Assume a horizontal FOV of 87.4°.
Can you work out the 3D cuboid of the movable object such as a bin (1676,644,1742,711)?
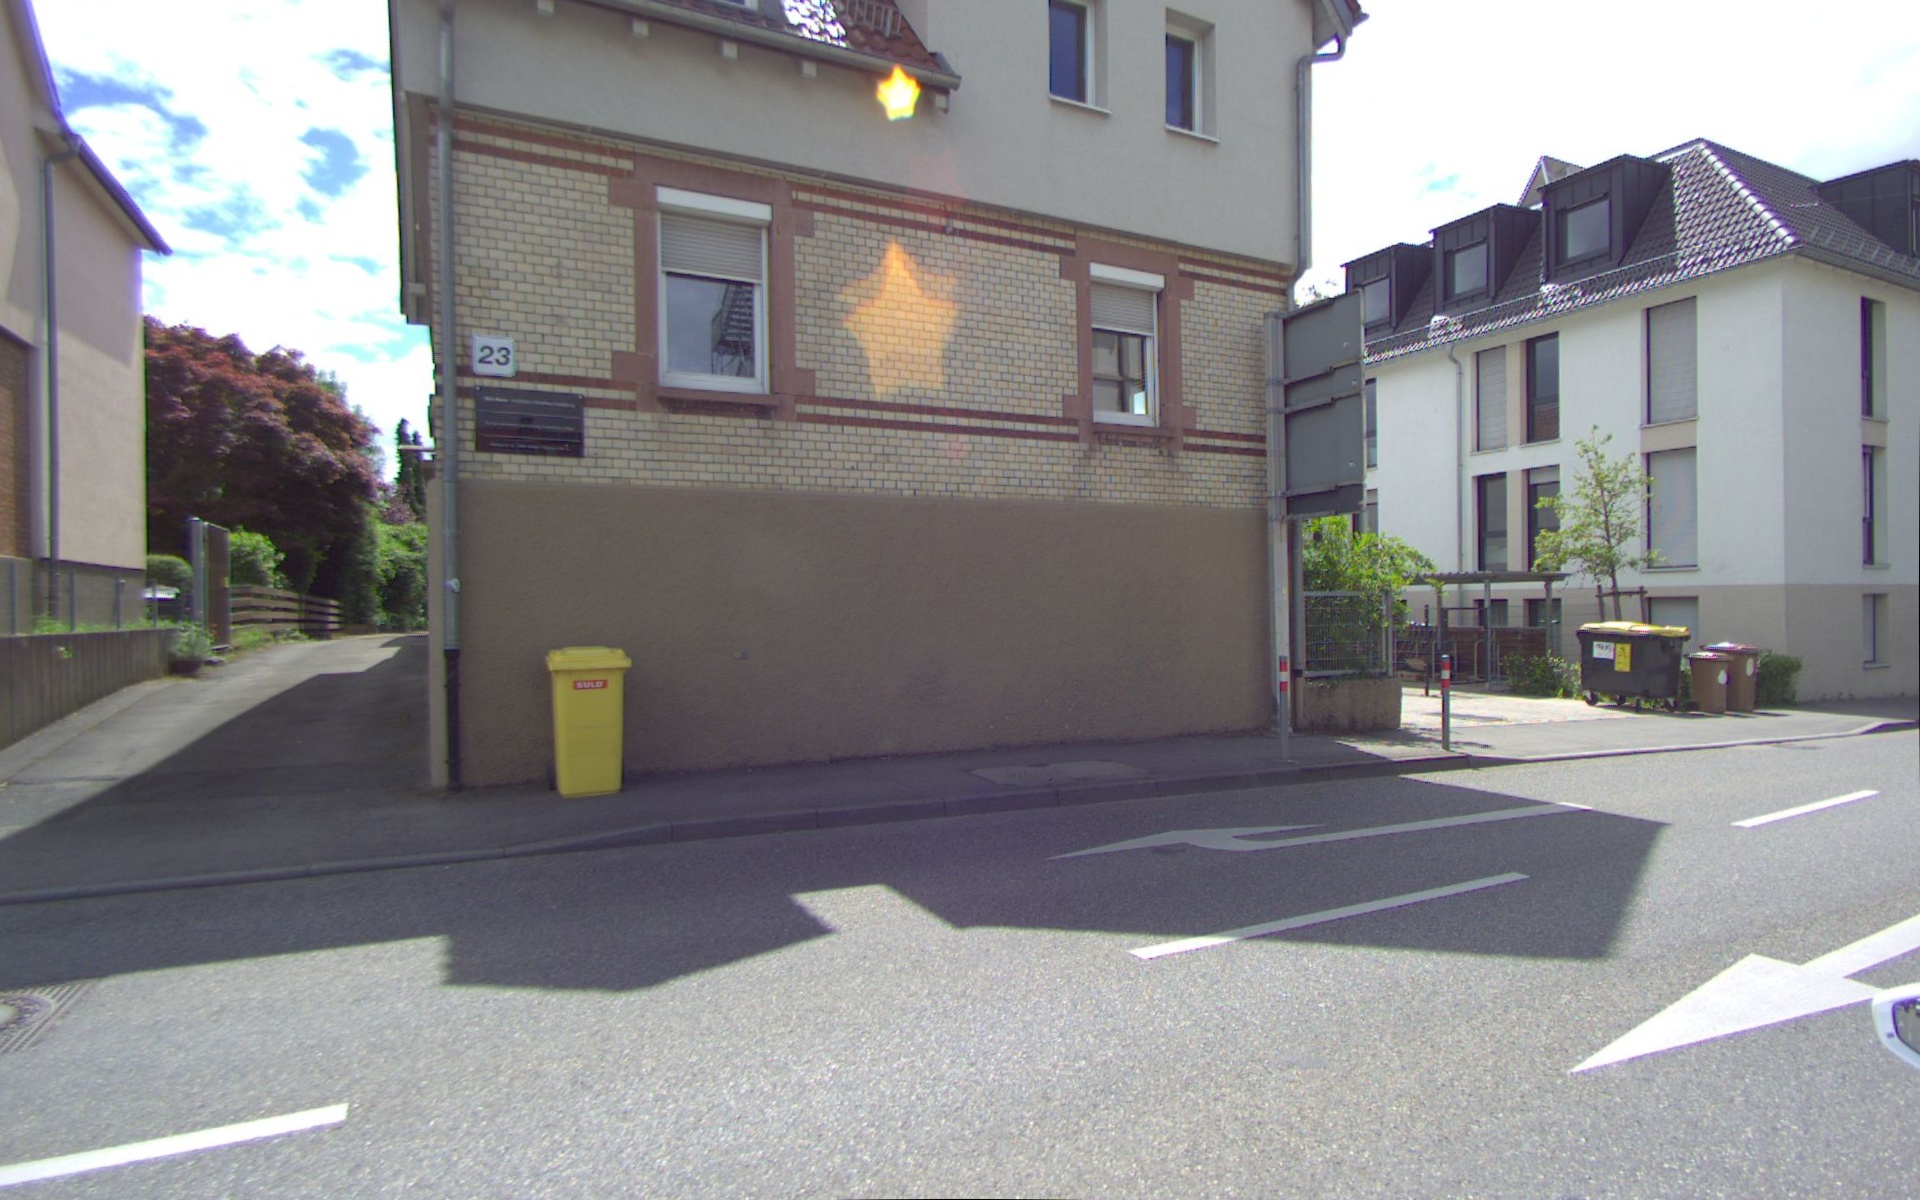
[{"bbox_3d":[11.880,1.212,15.935,0.649,1.014,0.638,1,-1,-28],"label":"movable object such as a bin"}]

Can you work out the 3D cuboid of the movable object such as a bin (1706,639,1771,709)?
[{"bbox_3d":[12.568,1.178,16.211,0.653,1.089,0.637,1,-1,-31],"label":"movable object such as a bin"}]

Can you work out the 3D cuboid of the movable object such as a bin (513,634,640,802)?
[{"bbox_3d":[-2.928,0.855,7.648,0.793,1.177,0.761,1,-1,-30],"label":"movable object such as a bin"}]

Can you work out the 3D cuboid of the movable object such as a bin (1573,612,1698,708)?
[{"bbox_3d":[10.903,0.929,16.240,1.157,1.465,1.327,1,-1,-32],"label":"movable object such as a bin"}]
